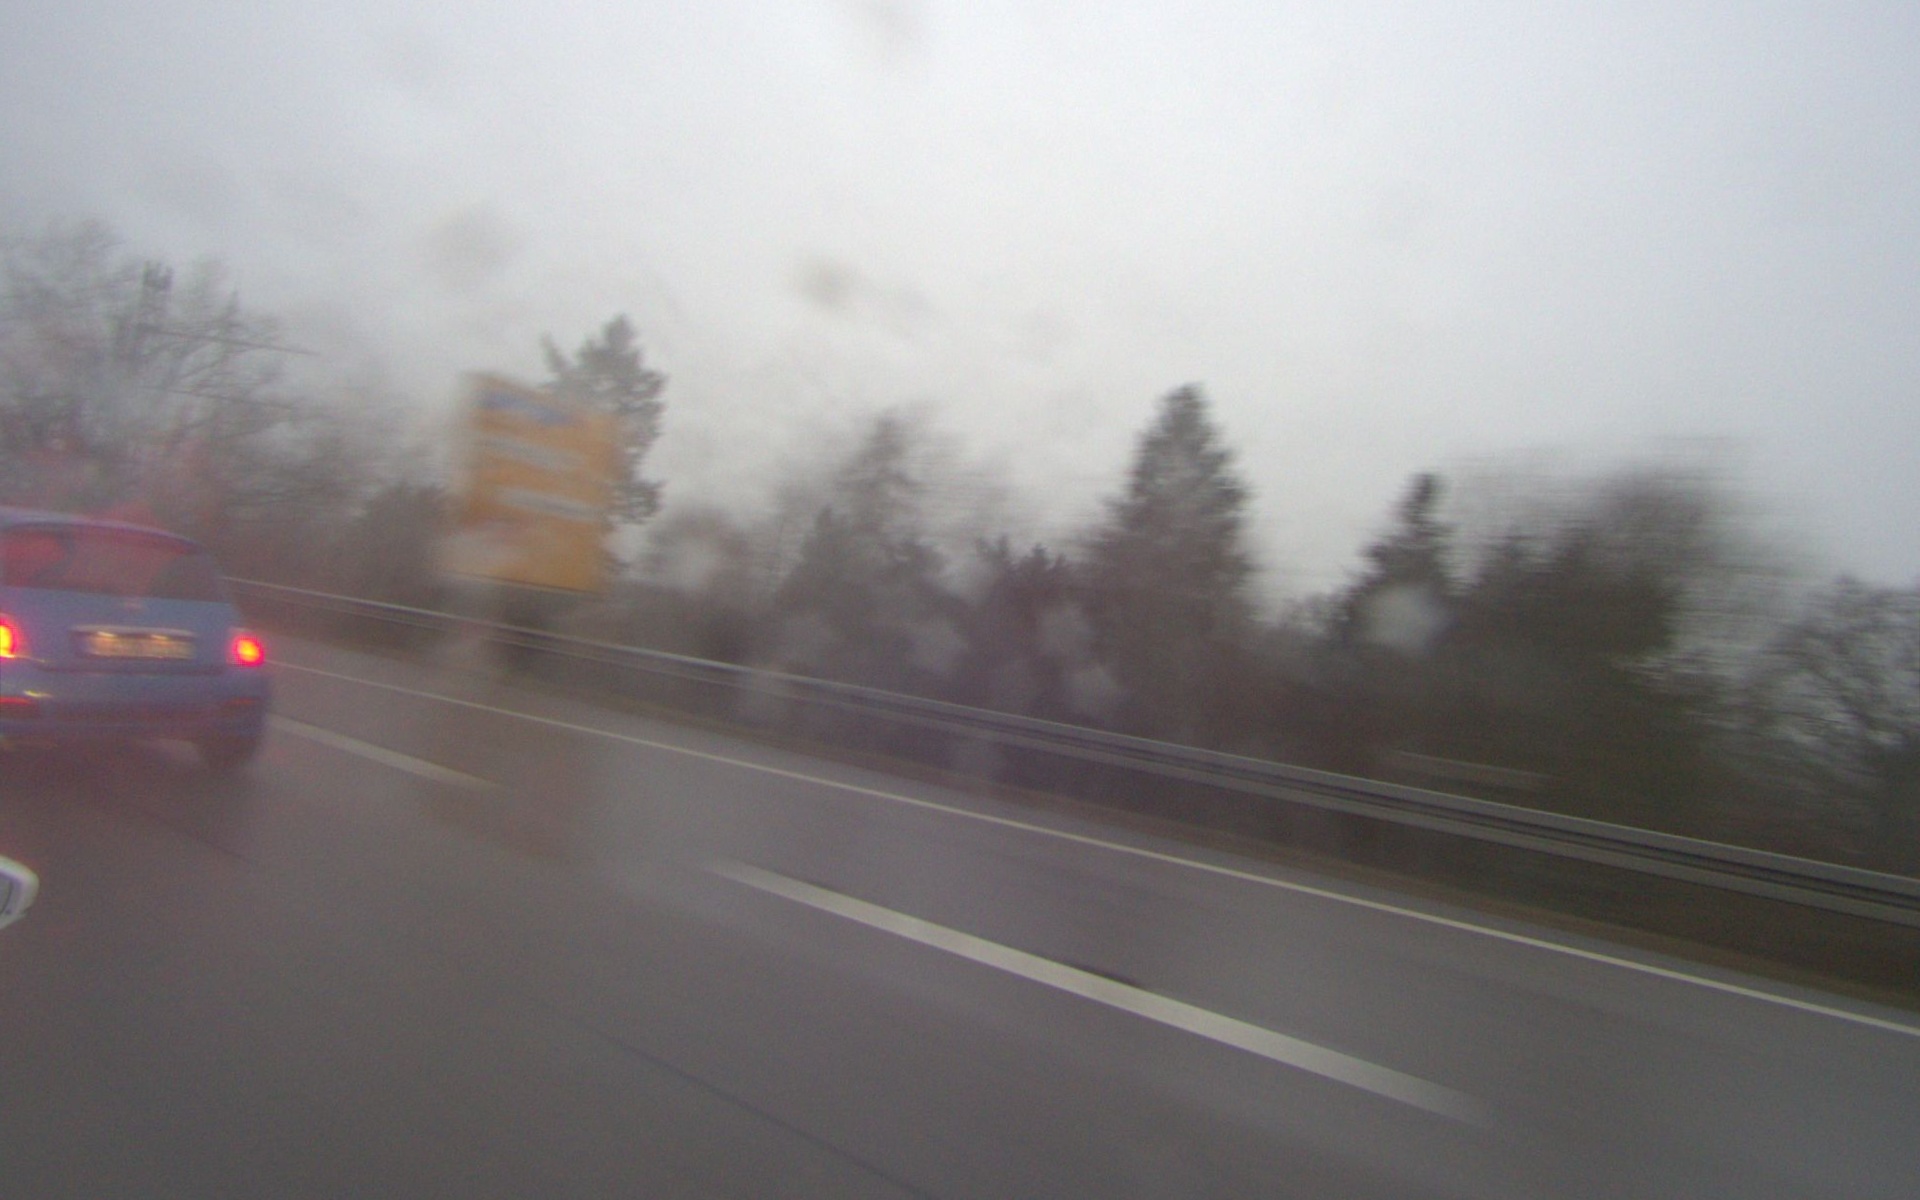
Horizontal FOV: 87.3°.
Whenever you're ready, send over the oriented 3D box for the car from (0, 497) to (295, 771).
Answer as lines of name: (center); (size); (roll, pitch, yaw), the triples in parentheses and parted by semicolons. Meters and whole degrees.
car: (-6.789, 0.035, 7.056); (4.079, 1.471, 1.849); (8, -1, 31)
